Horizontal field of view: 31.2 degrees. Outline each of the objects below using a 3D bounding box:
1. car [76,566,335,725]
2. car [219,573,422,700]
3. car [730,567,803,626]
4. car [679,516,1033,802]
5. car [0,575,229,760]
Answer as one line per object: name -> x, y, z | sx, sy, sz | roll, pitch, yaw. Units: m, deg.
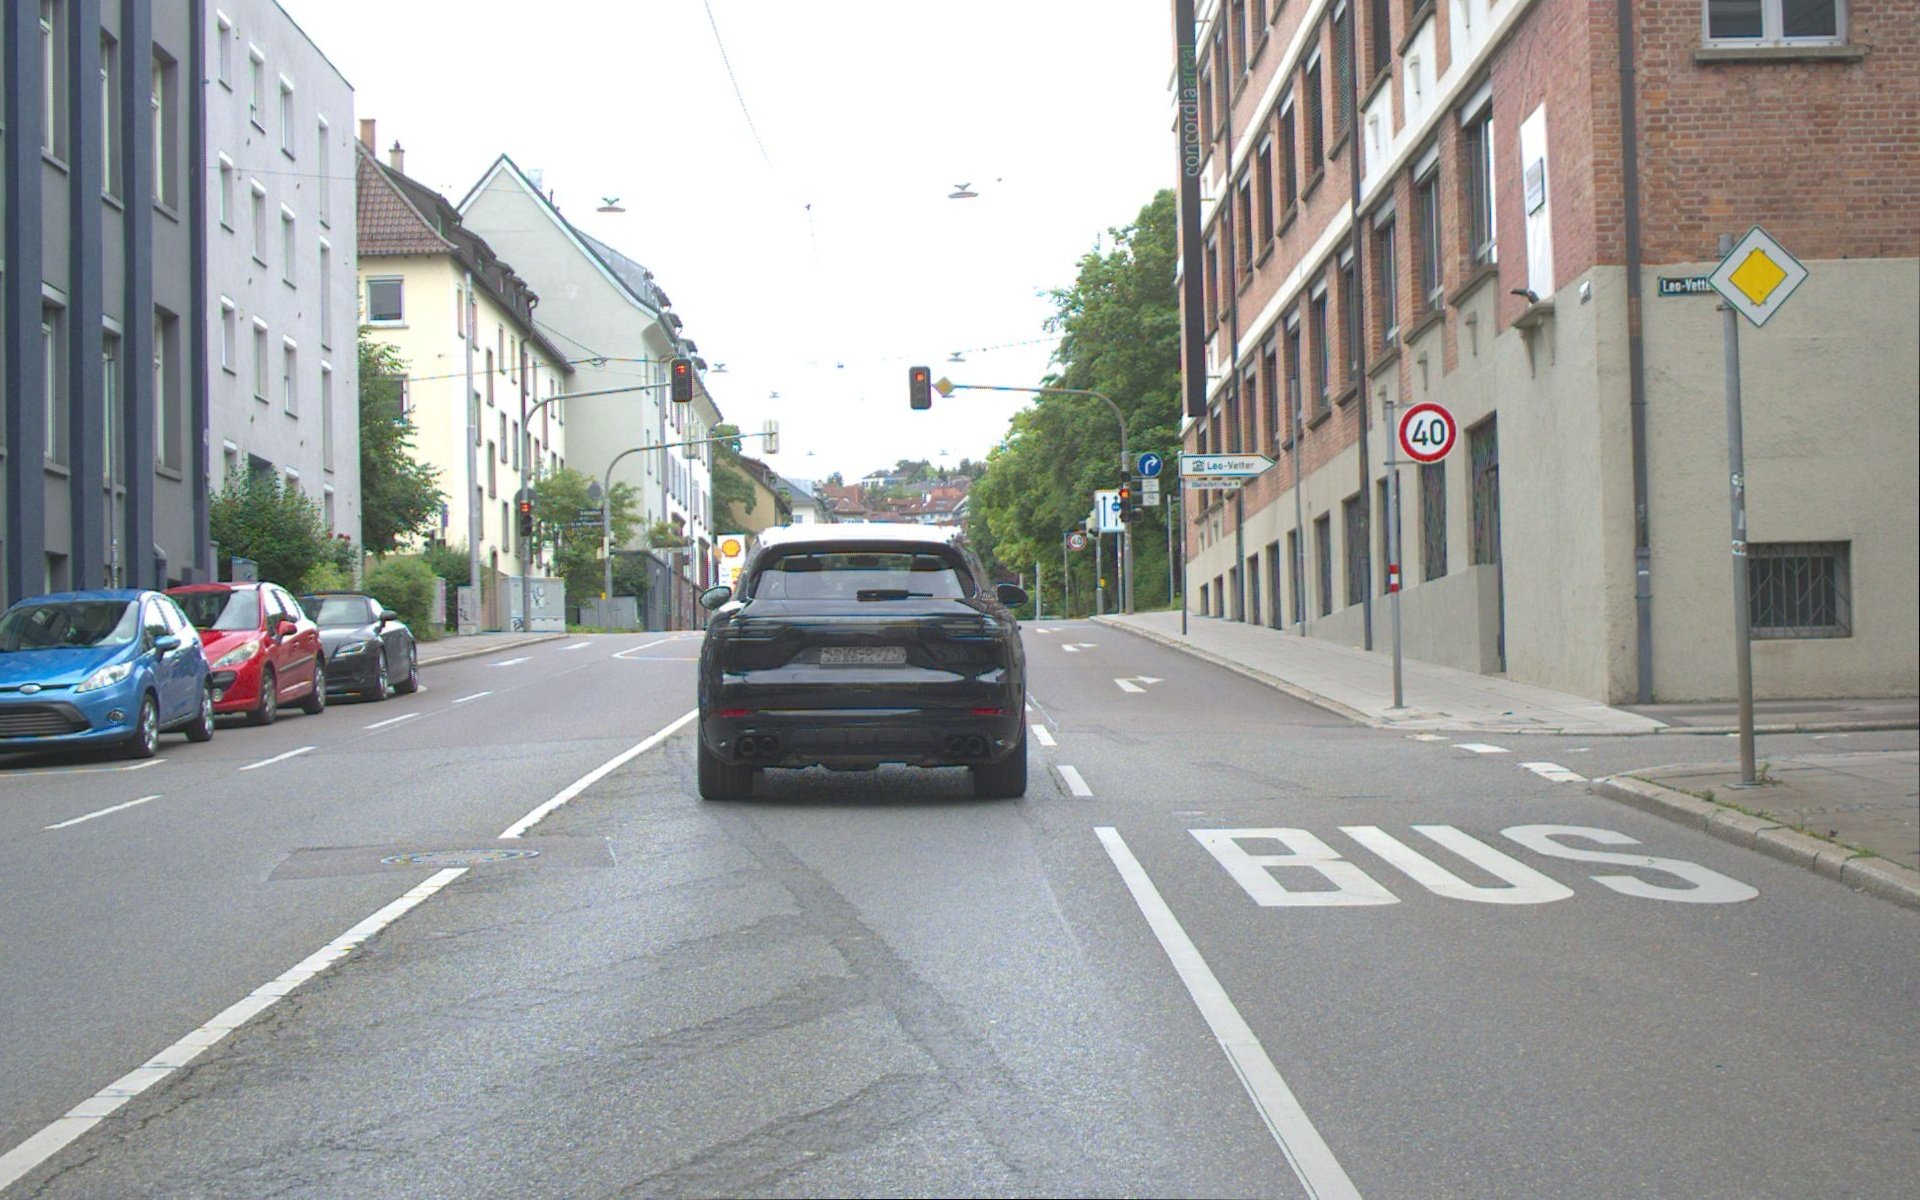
car -> -7.852, 0.434, 36.127 | 1.714, 1.451, 3.989 | -3, 1, 1
car -> -7.730, 0.407, 41.858 | 1.714, 1.336, 3.904 | -3, 1, -1
car -> -6.092, -0.119, 108.486 | 1.898, 1.686, 4.000 | -3, 1, 1
car -> -0.761, 0.311, 21.904 | 2.024, 1.636, 4.357 | 0, 1, -4
car -> -7.804, 0.561, 30.572 | 1.714, 1.419, 3.990 | -3, 1, -1
